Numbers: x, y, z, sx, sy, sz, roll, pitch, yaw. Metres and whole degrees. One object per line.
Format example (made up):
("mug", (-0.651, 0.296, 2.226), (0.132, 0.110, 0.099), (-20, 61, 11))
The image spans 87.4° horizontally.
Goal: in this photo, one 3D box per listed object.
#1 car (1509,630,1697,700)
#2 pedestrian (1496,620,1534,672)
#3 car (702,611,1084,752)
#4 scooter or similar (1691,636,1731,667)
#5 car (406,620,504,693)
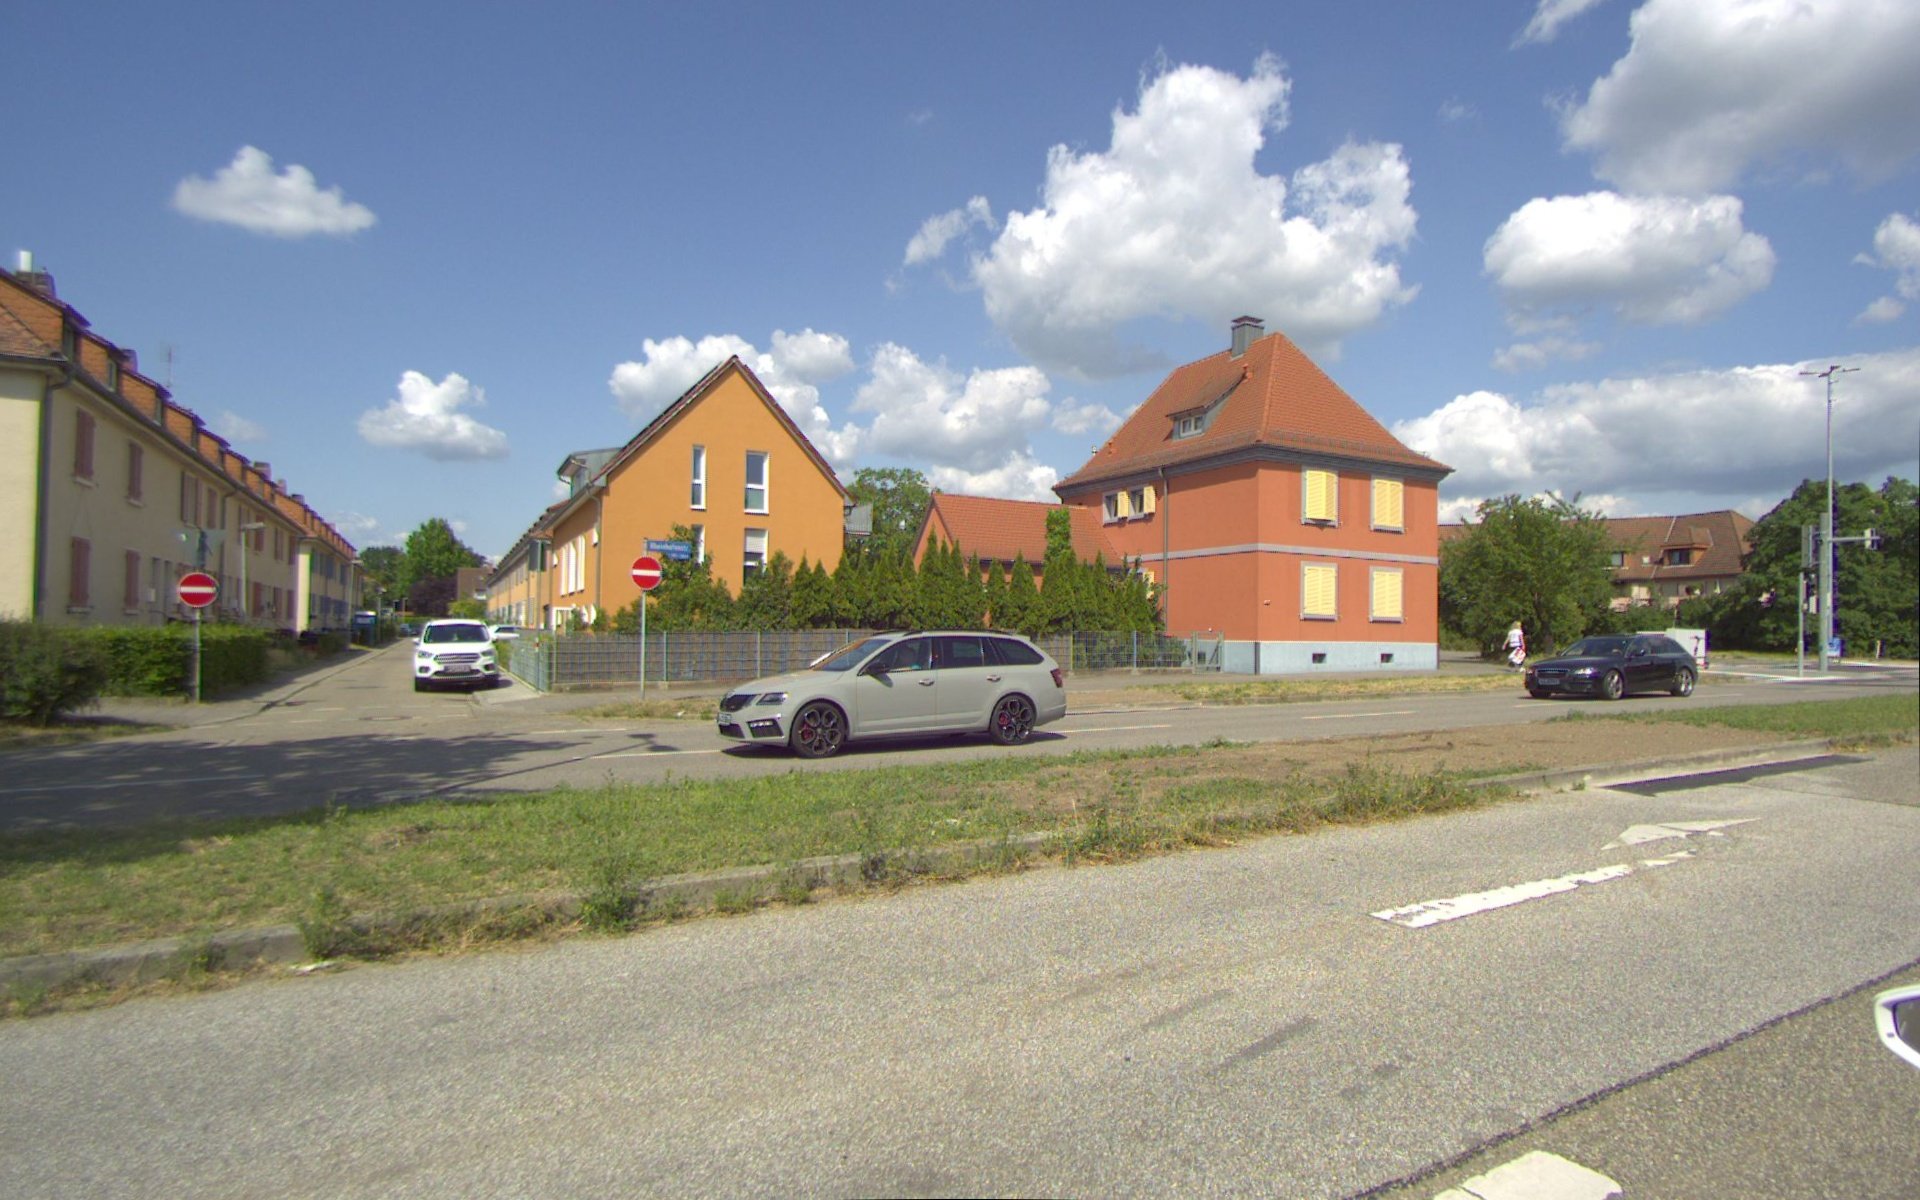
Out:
("car", (14.651, 1.462, 22.832), (4.523, 1.457, 1.763), (2, -3, -31))
("pedestrian", (17.771, 1.466, 32.189), (0.841, 1.604, 0.692), (2, 0, -30))
("car", (-0.775, 1.029, 12.835), (4.600, 1.527, 1.724), (2, -5, -31))
("scooter or similar", (28.980, 1.993, 38.775), (1.741, 1.179, 0.586), (2, 0, -31))
("car", (-12.431, 1.353, 24.918), (1.973, 1.639, 3.975), (2, -2, -25))
